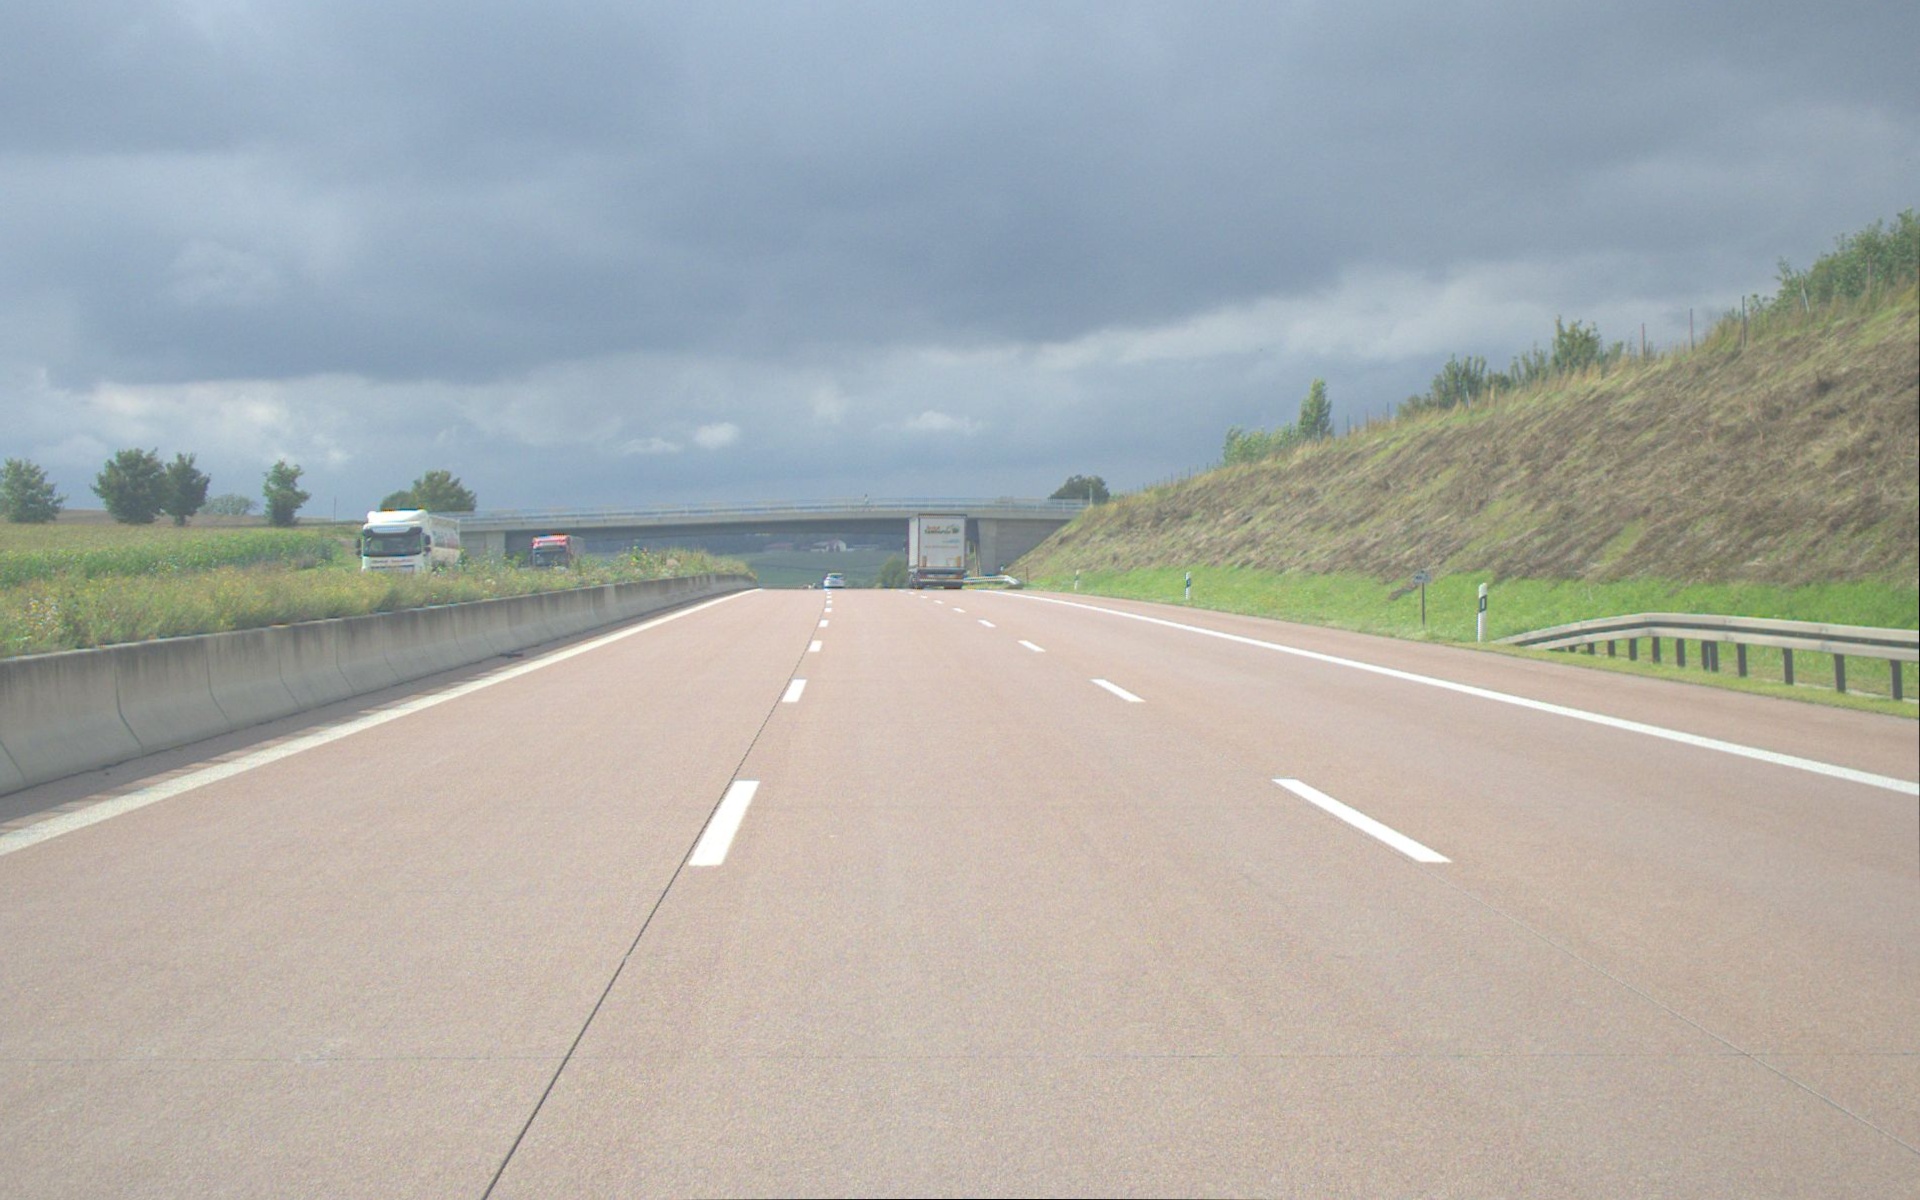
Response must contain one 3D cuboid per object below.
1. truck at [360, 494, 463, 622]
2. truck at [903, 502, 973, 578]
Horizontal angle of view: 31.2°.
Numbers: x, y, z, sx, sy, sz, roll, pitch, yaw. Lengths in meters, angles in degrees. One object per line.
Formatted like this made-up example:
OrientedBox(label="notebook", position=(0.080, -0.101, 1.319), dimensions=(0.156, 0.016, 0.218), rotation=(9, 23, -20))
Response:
OrientedBox(label="truck", position=(-22.696, -1.816, 142.824), dimensions=(2.990, 5.048, 10.987), rotation=(1, 1, -3))
OrientedBox(label="truck", position=(-1.192, -3.283, 186.729), dimensions=(3.617, 3.932, 11.175), rotation=(1, 1, 0))
